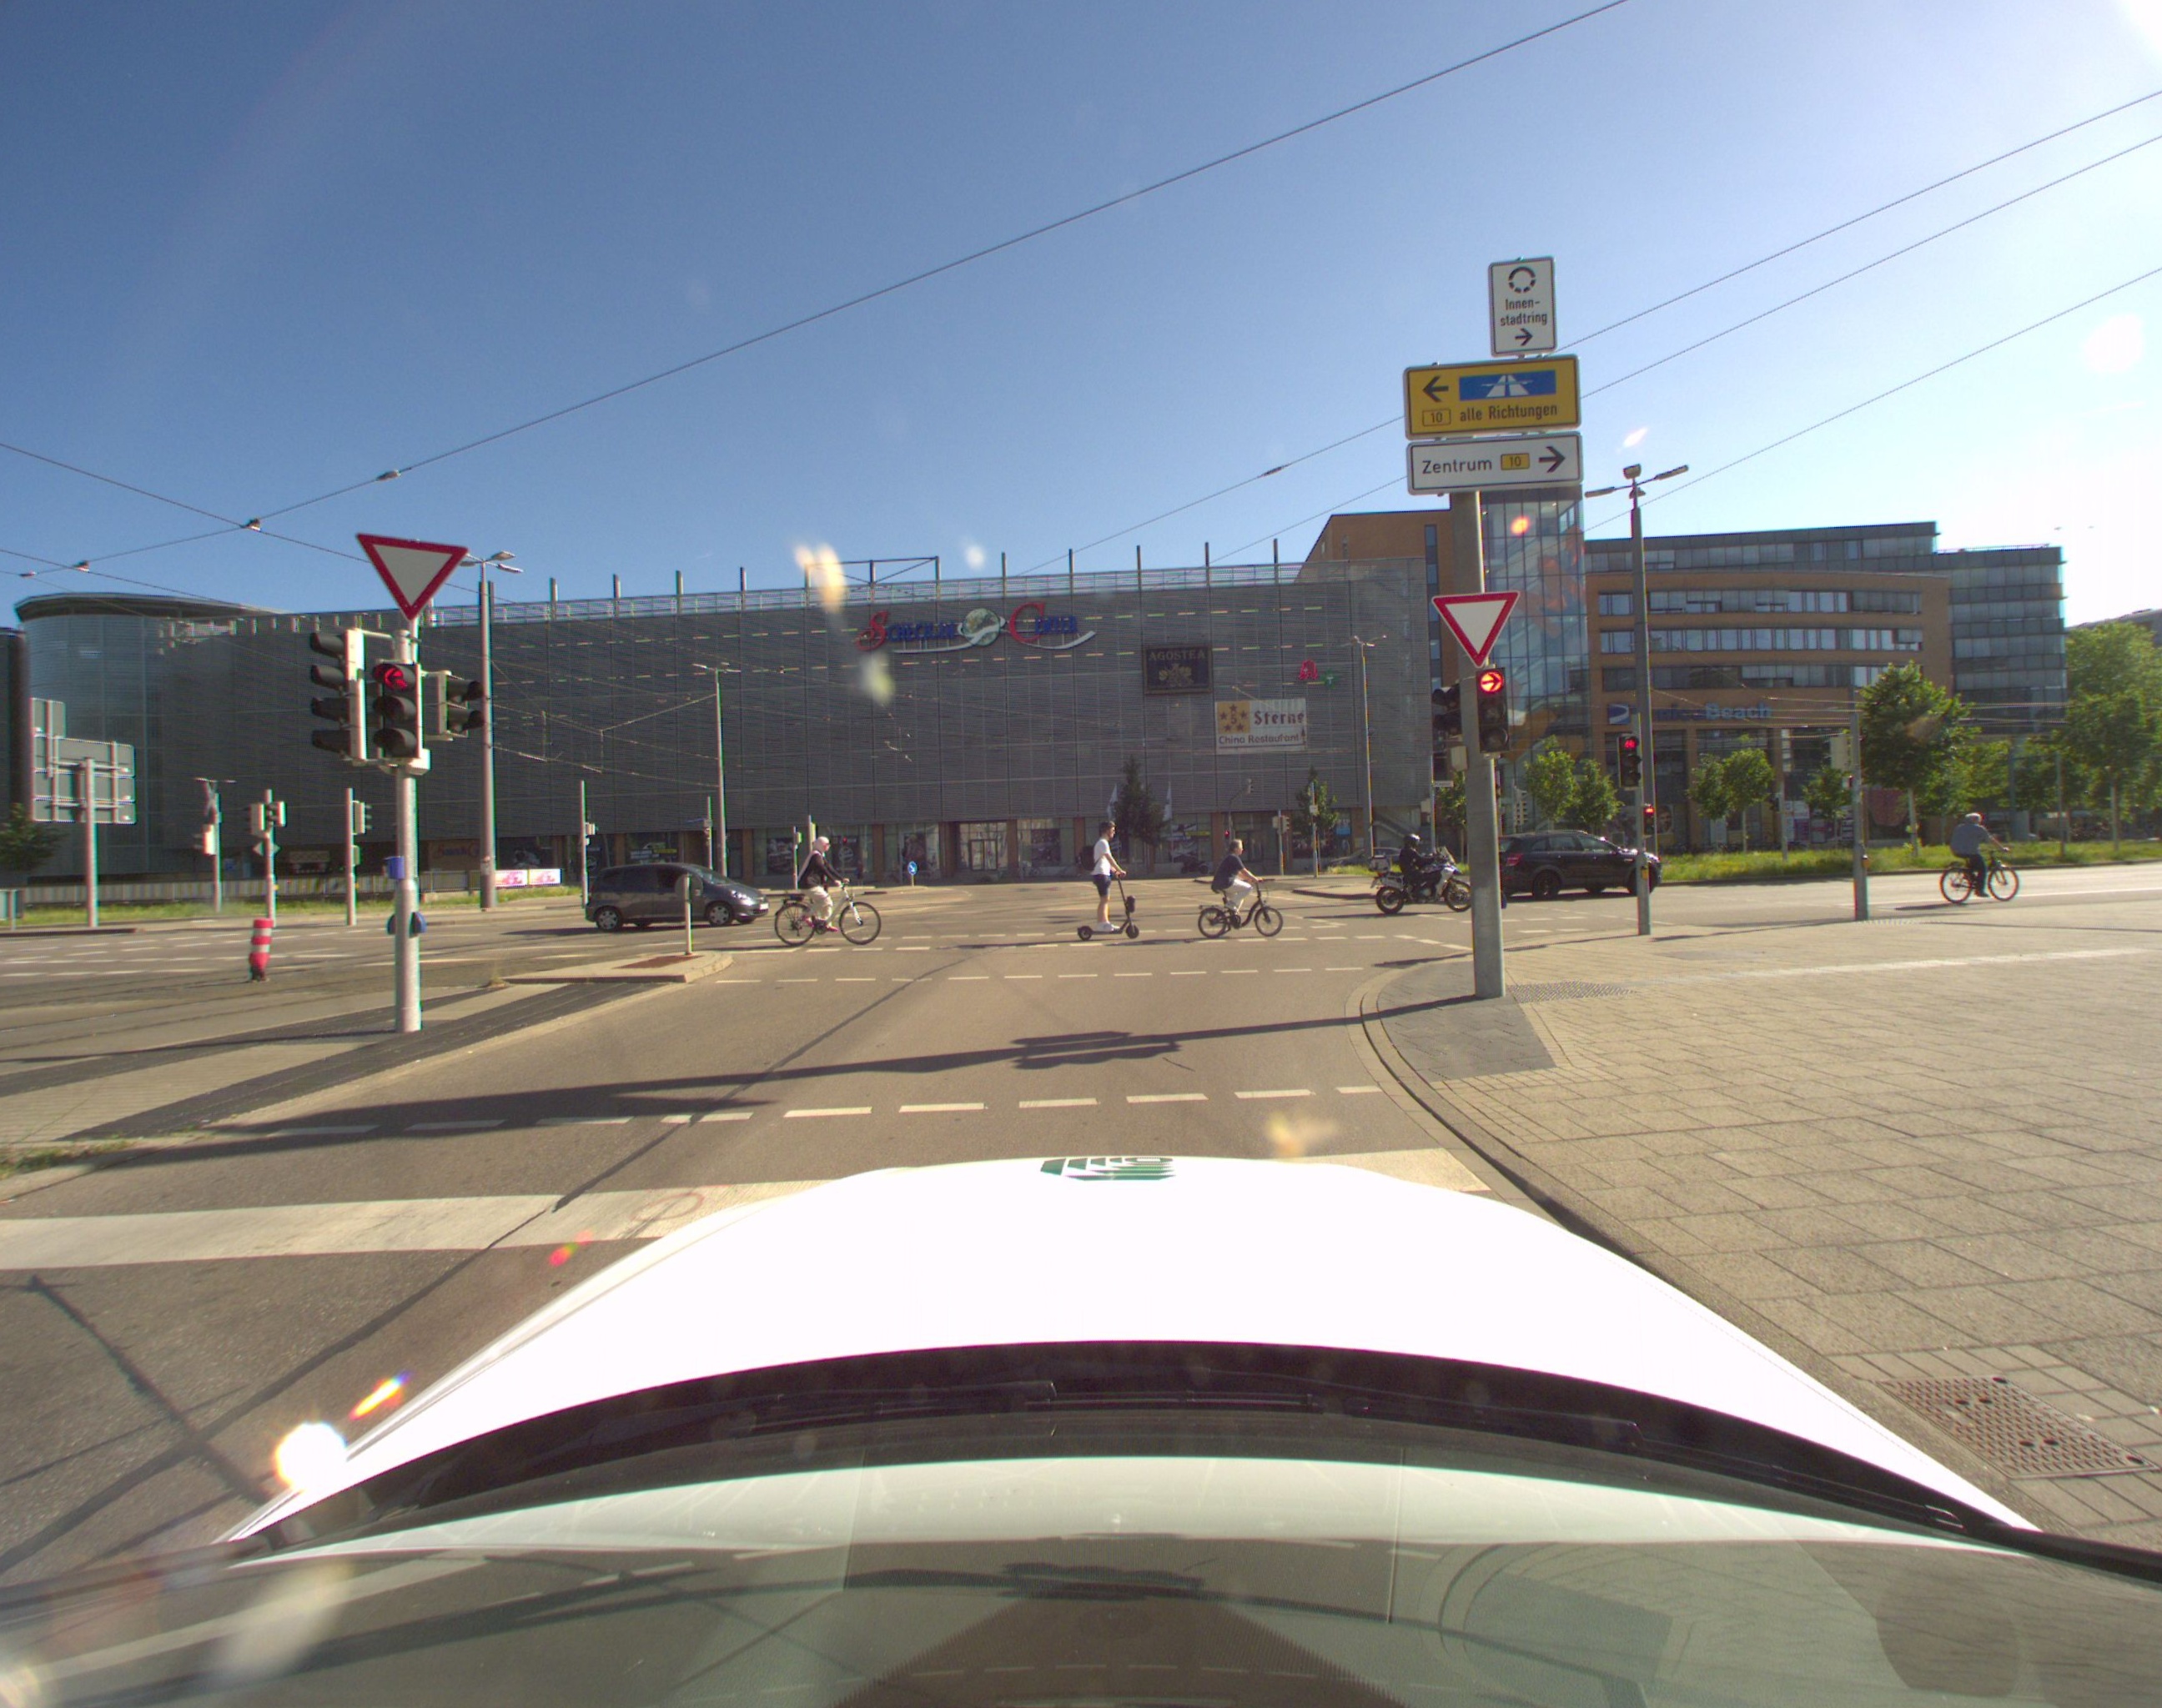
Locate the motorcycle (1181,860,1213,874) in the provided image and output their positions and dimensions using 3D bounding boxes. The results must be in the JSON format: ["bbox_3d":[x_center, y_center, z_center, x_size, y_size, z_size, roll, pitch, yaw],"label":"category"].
[{"bbox_3d":[8.657,0.974,60.833,2.194,1.042,1.062,-1,0,2],"label":"motorcycle"}]

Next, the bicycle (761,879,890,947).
[{"bbox_3d":[-4.267,0.979,13.682,1.920,1.036,0.694,-2,0,-2],"label":"bicycle"}]

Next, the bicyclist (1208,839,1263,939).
[{"bbox_3d":[2.643,0.588,14.004,0.780,1.648,0.690,-2,-1,-1],"label":"bicyclist"}]

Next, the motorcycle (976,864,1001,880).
[{"bbox_3d":[-6.395,1.247,56.200,1.641,1.059,0.499,-2,-1,11],"label":"motorcycle"}]

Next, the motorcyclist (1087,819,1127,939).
[{"bbox_3d":[0.448,0.421,14.032,0.625,2.014,0.498,-2,-1,2],"label":"motorcyclist"}]

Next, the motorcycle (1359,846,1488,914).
[{"bbox_3d":[7.433,0.548,17.774,2.435,1.419,0.915,-1,0,0],"label":"motorcycle"}]

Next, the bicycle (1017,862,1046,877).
[{"bbox_3d":[-3.686,1.167,60.804,2.019,1.059,1.145,-2,0,1],"label":"bicycle"}]

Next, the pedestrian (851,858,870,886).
[{"bbox_3d":[-15.050,1.254,55.576,0.894,1.868,0.826,-2,-1,44],"label":"pedestrian"}]

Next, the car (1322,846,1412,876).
[{"bbox_3d":[15.932,0.393,45.428,4.470,1.495,1.495,-2,0,1],"label":"car"}]

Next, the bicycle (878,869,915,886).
[{"bbox_3d":[-12.489,1.592,55.139,2.256,1.070,1.034,-2,-1,-39],"label":"bicycle"}]

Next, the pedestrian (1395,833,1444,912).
[{"bbox_3d":[7.387,0.403,17.789,0.741,1.677,0.665,-2,-1,1],"label":"pedestrian"}]

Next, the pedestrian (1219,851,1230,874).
[{"bbox_3d":[9.568,0.580,54.417,0.587,1.535,0.658,-2,-1,1],"label":"pedestrian"}]

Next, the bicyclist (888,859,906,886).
[{"bbox_3d":[-12.481,1.277,55.167,0.849,1.803,0.806,-1,-1,-40],"label":"bicyclist"}]

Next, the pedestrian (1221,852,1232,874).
[{"bbox_3d":[9.854,0.609,55.211,0.587,1.462,0.658,-2,-1,1],"label":"pedestrian"}]

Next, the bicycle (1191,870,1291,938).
[{"bbox_3d":[2.716,0.837,13.930,1.571,1.107,0.734,0,-1,-1],"label":"bicycle"}]

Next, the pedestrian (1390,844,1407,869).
[{"bbox_3d":[22.765,0.203,58.347,0.852,1.738,0.752,-2,-1,-5],"label":"pedestrian"}]

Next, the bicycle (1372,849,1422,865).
[{"bbox_3d":[23.560,0.211,60.798,3.342,1.077,1.119,-1,0,7],"label":"bicycle"}]

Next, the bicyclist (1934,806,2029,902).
[{"bbox_3d":[18.154,-0.006,16.441,0.898,1.859,0.855,-2,-1,2],"label":"bicyclist"}]

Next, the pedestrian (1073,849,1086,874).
[{"bbox_3d":[-0.125,0.567,59.686,0.845,1.763,0.620,-2,-1,1],"label":"pedestrian"}]

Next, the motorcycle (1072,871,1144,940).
[{"bbox_3d":[0.471,0.882,14.014,1.182,1.121,0.483,-2,-1,1],"label":"motorcycle"}]

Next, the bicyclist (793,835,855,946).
[{"bbox_3d":[-4.321,0.597,13.732,0.761,1.789,0.762,-2,-1,-2],"label":"bicyclist"}]

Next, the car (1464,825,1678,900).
[{"bbox_3d":[12.629,0.188,21.132,4.630,1.718,1.835,-1,1,-7],"label":"car"}]

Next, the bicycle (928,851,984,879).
[{"bbox_3d":[-9.437,0.850,61.454,3.971,2.013,1.331,-1,0,2],"label":"bicycle"}]

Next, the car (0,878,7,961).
[{"bbox_3d":[-21.385,1.234,14.254,4.044,1.464,1.922,-2,0,19],"label":"car"}]

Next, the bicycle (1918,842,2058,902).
[{"bbox_3d":[18.248,0.359,16.424,1.822,1.116,0.854,-2,-1,1],"label":"bicycle"}]

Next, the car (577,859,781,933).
[{"bbox_3d":[-9.137,0.926,18.763,3.743,1.525,1.821,-1,0,-3],"label":"car"}]
